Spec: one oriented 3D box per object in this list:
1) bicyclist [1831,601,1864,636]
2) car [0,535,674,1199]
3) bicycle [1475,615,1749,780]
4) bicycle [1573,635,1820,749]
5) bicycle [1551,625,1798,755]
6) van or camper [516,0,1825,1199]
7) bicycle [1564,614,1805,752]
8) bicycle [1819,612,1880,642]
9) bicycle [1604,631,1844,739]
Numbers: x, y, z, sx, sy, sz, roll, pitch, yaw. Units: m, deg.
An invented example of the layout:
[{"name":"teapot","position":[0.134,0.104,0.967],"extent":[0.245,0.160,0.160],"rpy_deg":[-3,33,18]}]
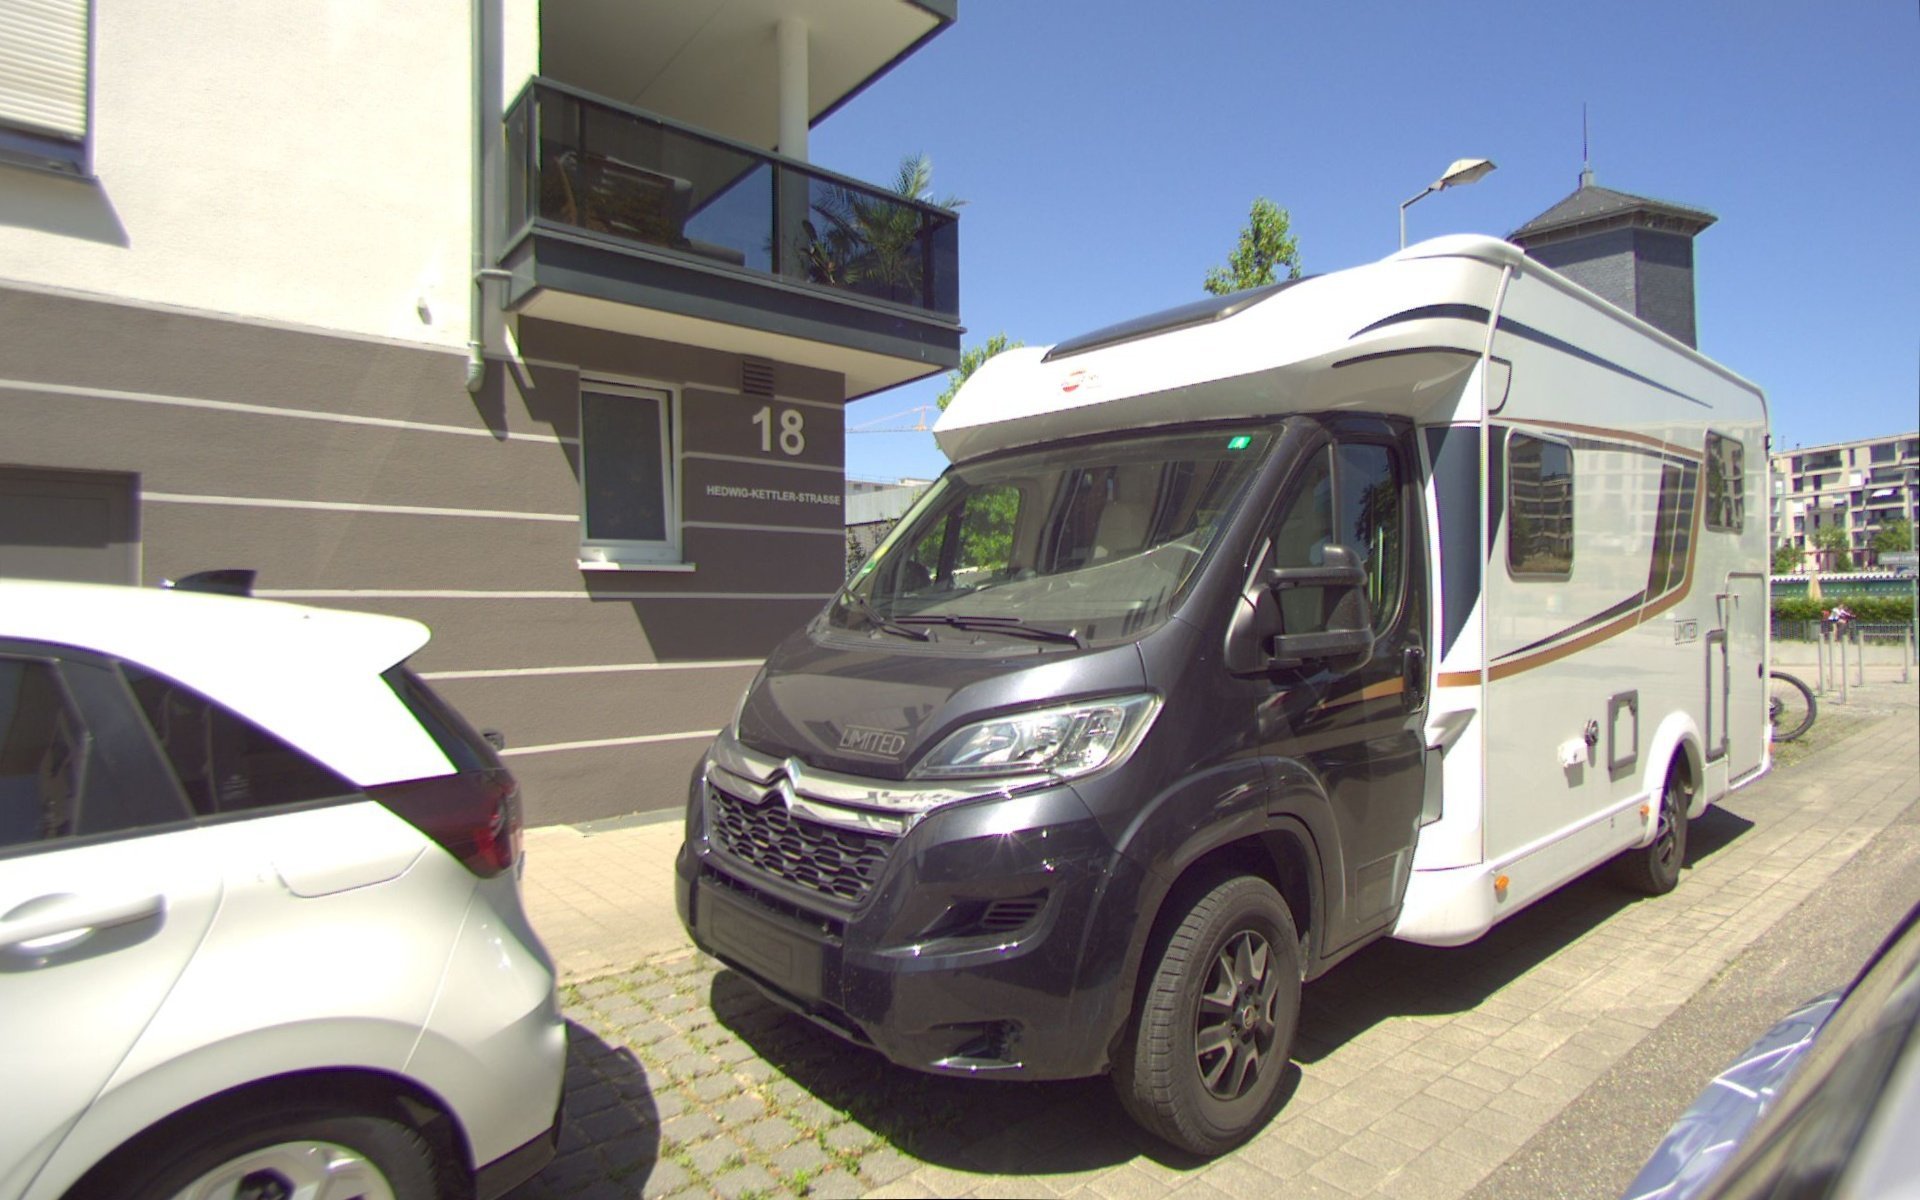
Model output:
[{"name":"bicyclist","position":[37.367,0.782,42.610],"extent":[0.718,1.453,0.661],"rpy_deg":[-1,-2,-10]},{"name":"car","position":[-2.763,0.665,1.445],"extent":[4.188,1.524,1.809],"rpy_deg":[0,0,-42]},{"name":"bicycle","position":[5.584,0.768,8.764],"extent":[1.909,1.238,0.816],"rpy_deg":[1,-1,35]},{"name":"bicycle","position":[7.561,0.895,10.495],"extent":[0.926,0.987,1.862],"rpy_deg":[0,0,-27]},{"name":"bicycle","position":[6.845,0.810,9.802],"extent":[0.467,1.125,1.887],"rpy_deg":[0,-1,-38]},{"name":"van or camper","position":[2.104,-0.025,5.253],"extent":[7.691,2.943,2.442],"rpy_deg":[-1,-1,-41]},{"name":"bicycle","position":[7.124,0.758,10.047],"extent":[0.545,1.238,1.854],"rpy_deg":[0,-1,-38]},{"name":"bicycle","position":[37.375,1.138,42.567],"extent":[0.579,1.214,1.944],"rpy_deg":[-1,-2,-11]},{"name":"bicycle","position":[8.296,0.880,11.083],"extent":[2.022,1.016,0.863],"rpy_deg":[0,0,39]}]
